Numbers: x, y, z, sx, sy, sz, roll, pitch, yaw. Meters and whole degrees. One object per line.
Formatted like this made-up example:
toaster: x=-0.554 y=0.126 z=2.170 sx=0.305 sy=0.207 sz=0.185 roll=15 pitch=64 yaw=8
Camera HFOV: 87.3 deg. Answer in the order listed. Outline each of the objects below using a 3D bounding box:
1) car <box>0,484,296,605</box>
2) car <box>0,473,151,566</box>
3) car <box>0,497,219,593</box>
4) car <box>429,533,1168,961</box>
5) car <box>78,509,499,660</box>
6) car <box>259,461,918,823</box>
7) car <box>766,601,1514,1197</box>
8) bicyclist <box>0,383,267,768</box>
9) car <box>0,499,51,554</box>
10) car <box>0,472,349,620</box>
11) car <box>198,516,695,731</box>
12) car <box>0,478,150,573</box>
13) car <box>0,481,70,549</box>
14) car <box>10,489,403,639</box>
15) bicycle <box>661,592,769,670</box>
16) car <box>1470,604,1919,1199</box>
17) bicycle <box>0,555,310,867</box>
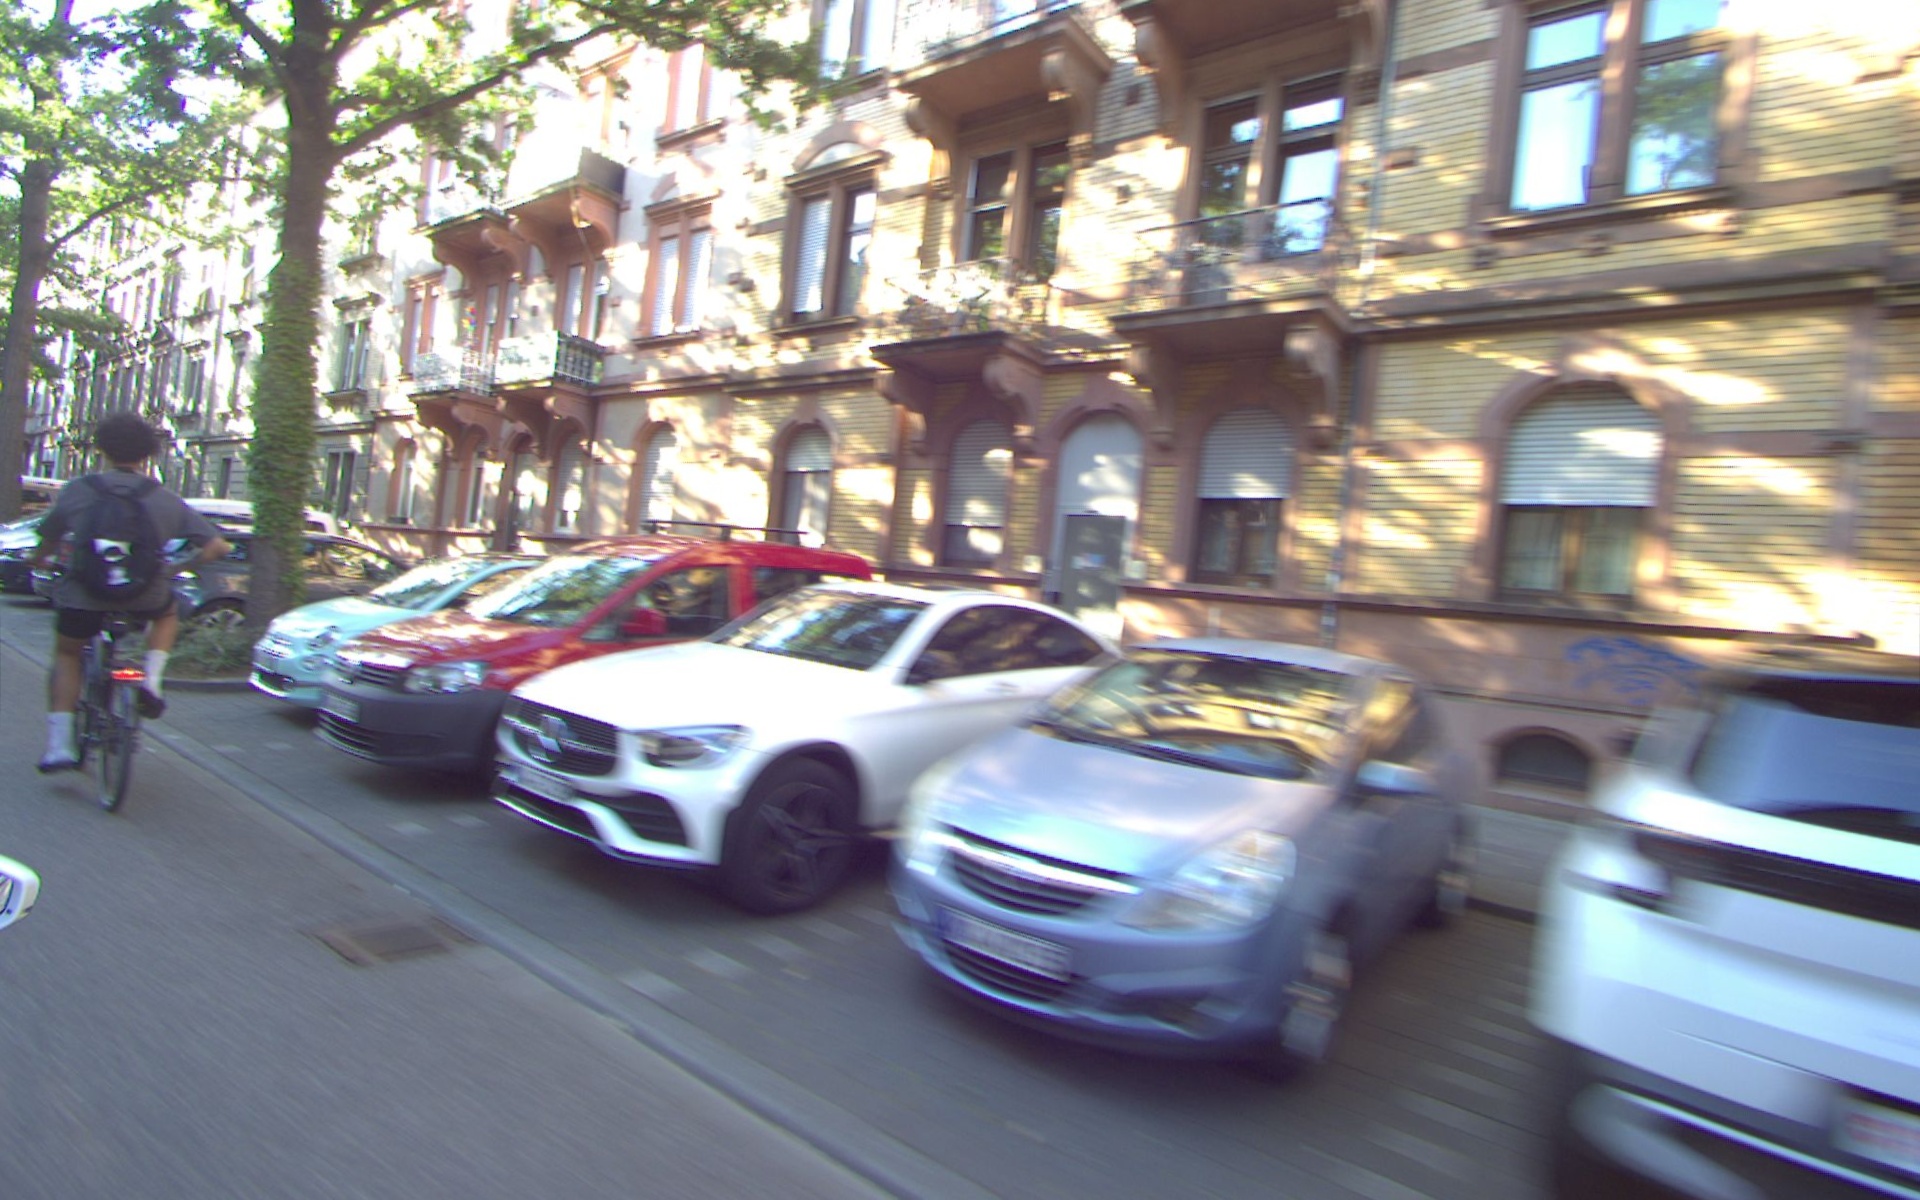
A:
car: x=-14.315 y=-0.918 z=17.447 sx=1.804 sy=1.631 sz=4.224 roll=7 pitch=1 yaw=31
car: x=-23.300 y=-2.084 z=24.653 sx=1.808 sy=1.950 sz=5.052 roll=7 pitch=1 yaw=38
car: x=-16.486 y=-1.049 z=18.469 sx=1.805 sy=1.421 sz=4.222 roll=7 pitch=1 yaw=33
car: x=-0.584 y=0.649 z=6.217 sx=1.822 sy=1.577 sz=4.339 roll=8 pitch=2 yaw=37
car: x=-8.210 y=-0.114 z=12.624 sx=1.708 sy=1.486 sz=4.007 roll=6 pitch=0 yaw=38
car: x=-2.492 y=0.263 z=7.835 sx=1.821 sy=1.950 sz=4.441 roll=8 pitch=2 yaw=36
car: x=1.236 y=0.894 z=4.788 sx=1.768 sy=1.452 sz=4.006 roll=6 pitch=1 yaw=38
bicyclist: x=-4.650 y=-0.114 z=5.451 sx=1.189 sy=1.811 sz=0.996 roll=7 pitch=-1 yaw=38
car: x=-26.056 y=-2.071 z=25.728 sx=1.691 sy=1.310 sz=3.850 roll=7 pitch=1 yaw=35
car: x=-12.285 y=-0.764 z=15.722 sx=1.807 sy=1.799 sz=4.218 roll=7 pitch=1 yaw=37
car: x=-4.546 y=0.205 z=9.408 sx=1.819 sy=1.474 sz=3.659 roll=8 pitch=2 yaw=32
car: x=-20.705 y=-1.710 z=22.029 sx=1.801 sy=1.818 sz=4.233 roll=6 pitch=1 yaw=19
car: x=-29.002 y=-2.654 z=29.597 sx=1.691 sy=1.820 sz=3.850 roll=7 pitch=1 yaw=35
car: x=-10.263 y=-0.422 z=13.977 sx=1.708 sy=1.627 sz=4.007 roll=6 pitch=0 yaw=38
bicycle: x=-3.838 y=0.472 z=15.684 sx=1.866 sy=1.013 sz=0.552 roll=6 pitch=1 yaw=39
car: x=3.109 y=1.020 z=3.377 sx=1.778 sy=1.648 sz=4.008 roll=6 pitch=0 yaw=37
bicycle: x=-4.704 y=0.450 z=5.456 sx=2.879 sy=1.172 sz=0.996 roll=6 pitch=-1 yaw=38
